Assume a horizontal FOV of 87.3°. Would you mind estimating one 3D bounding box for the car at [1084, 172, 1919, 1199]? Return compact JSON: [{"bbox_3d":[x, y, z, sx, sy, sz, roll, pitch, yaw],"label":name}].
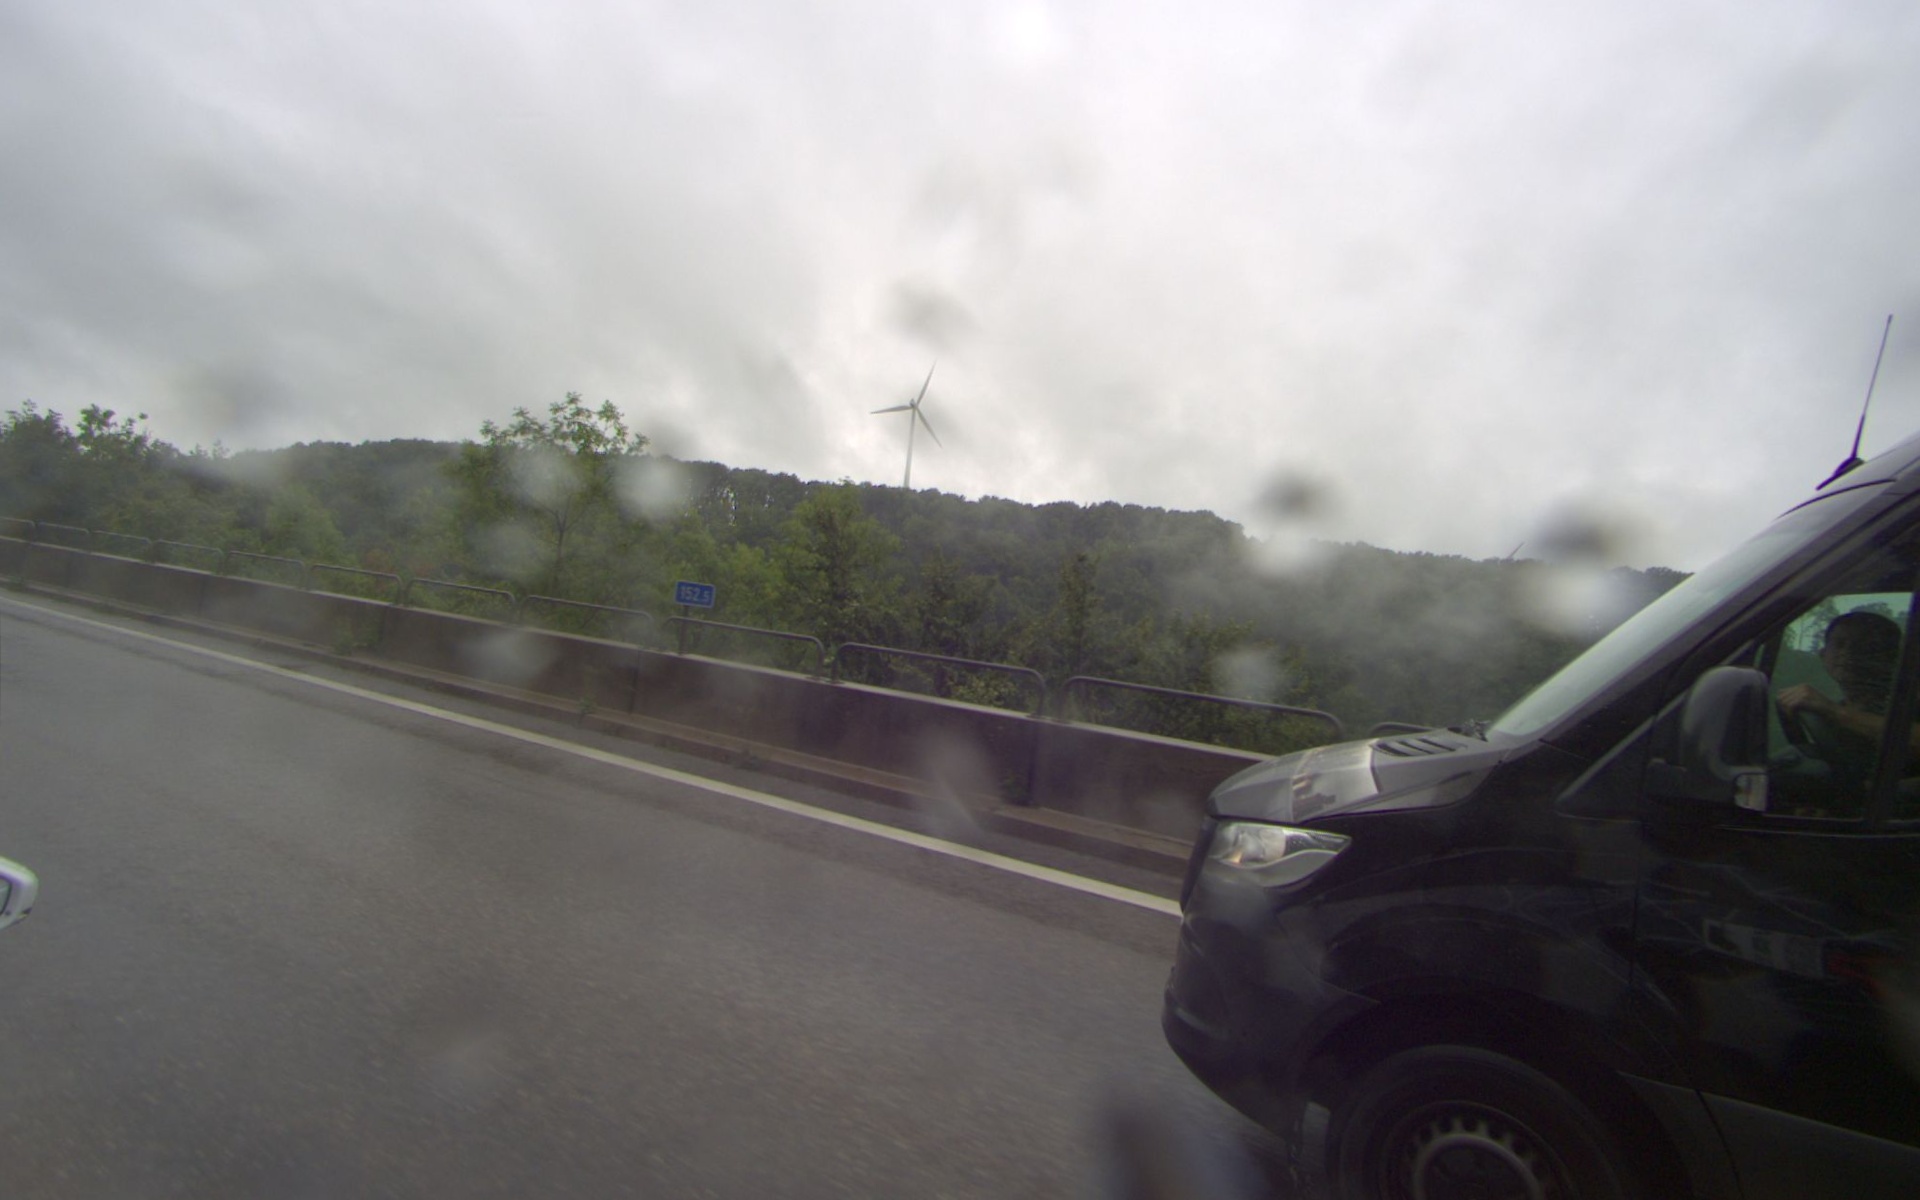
[{"bbox_3d":[3.778,0.695,1.817,6.594,2.523,1.997,6,-1,32],"label":"car"}]
